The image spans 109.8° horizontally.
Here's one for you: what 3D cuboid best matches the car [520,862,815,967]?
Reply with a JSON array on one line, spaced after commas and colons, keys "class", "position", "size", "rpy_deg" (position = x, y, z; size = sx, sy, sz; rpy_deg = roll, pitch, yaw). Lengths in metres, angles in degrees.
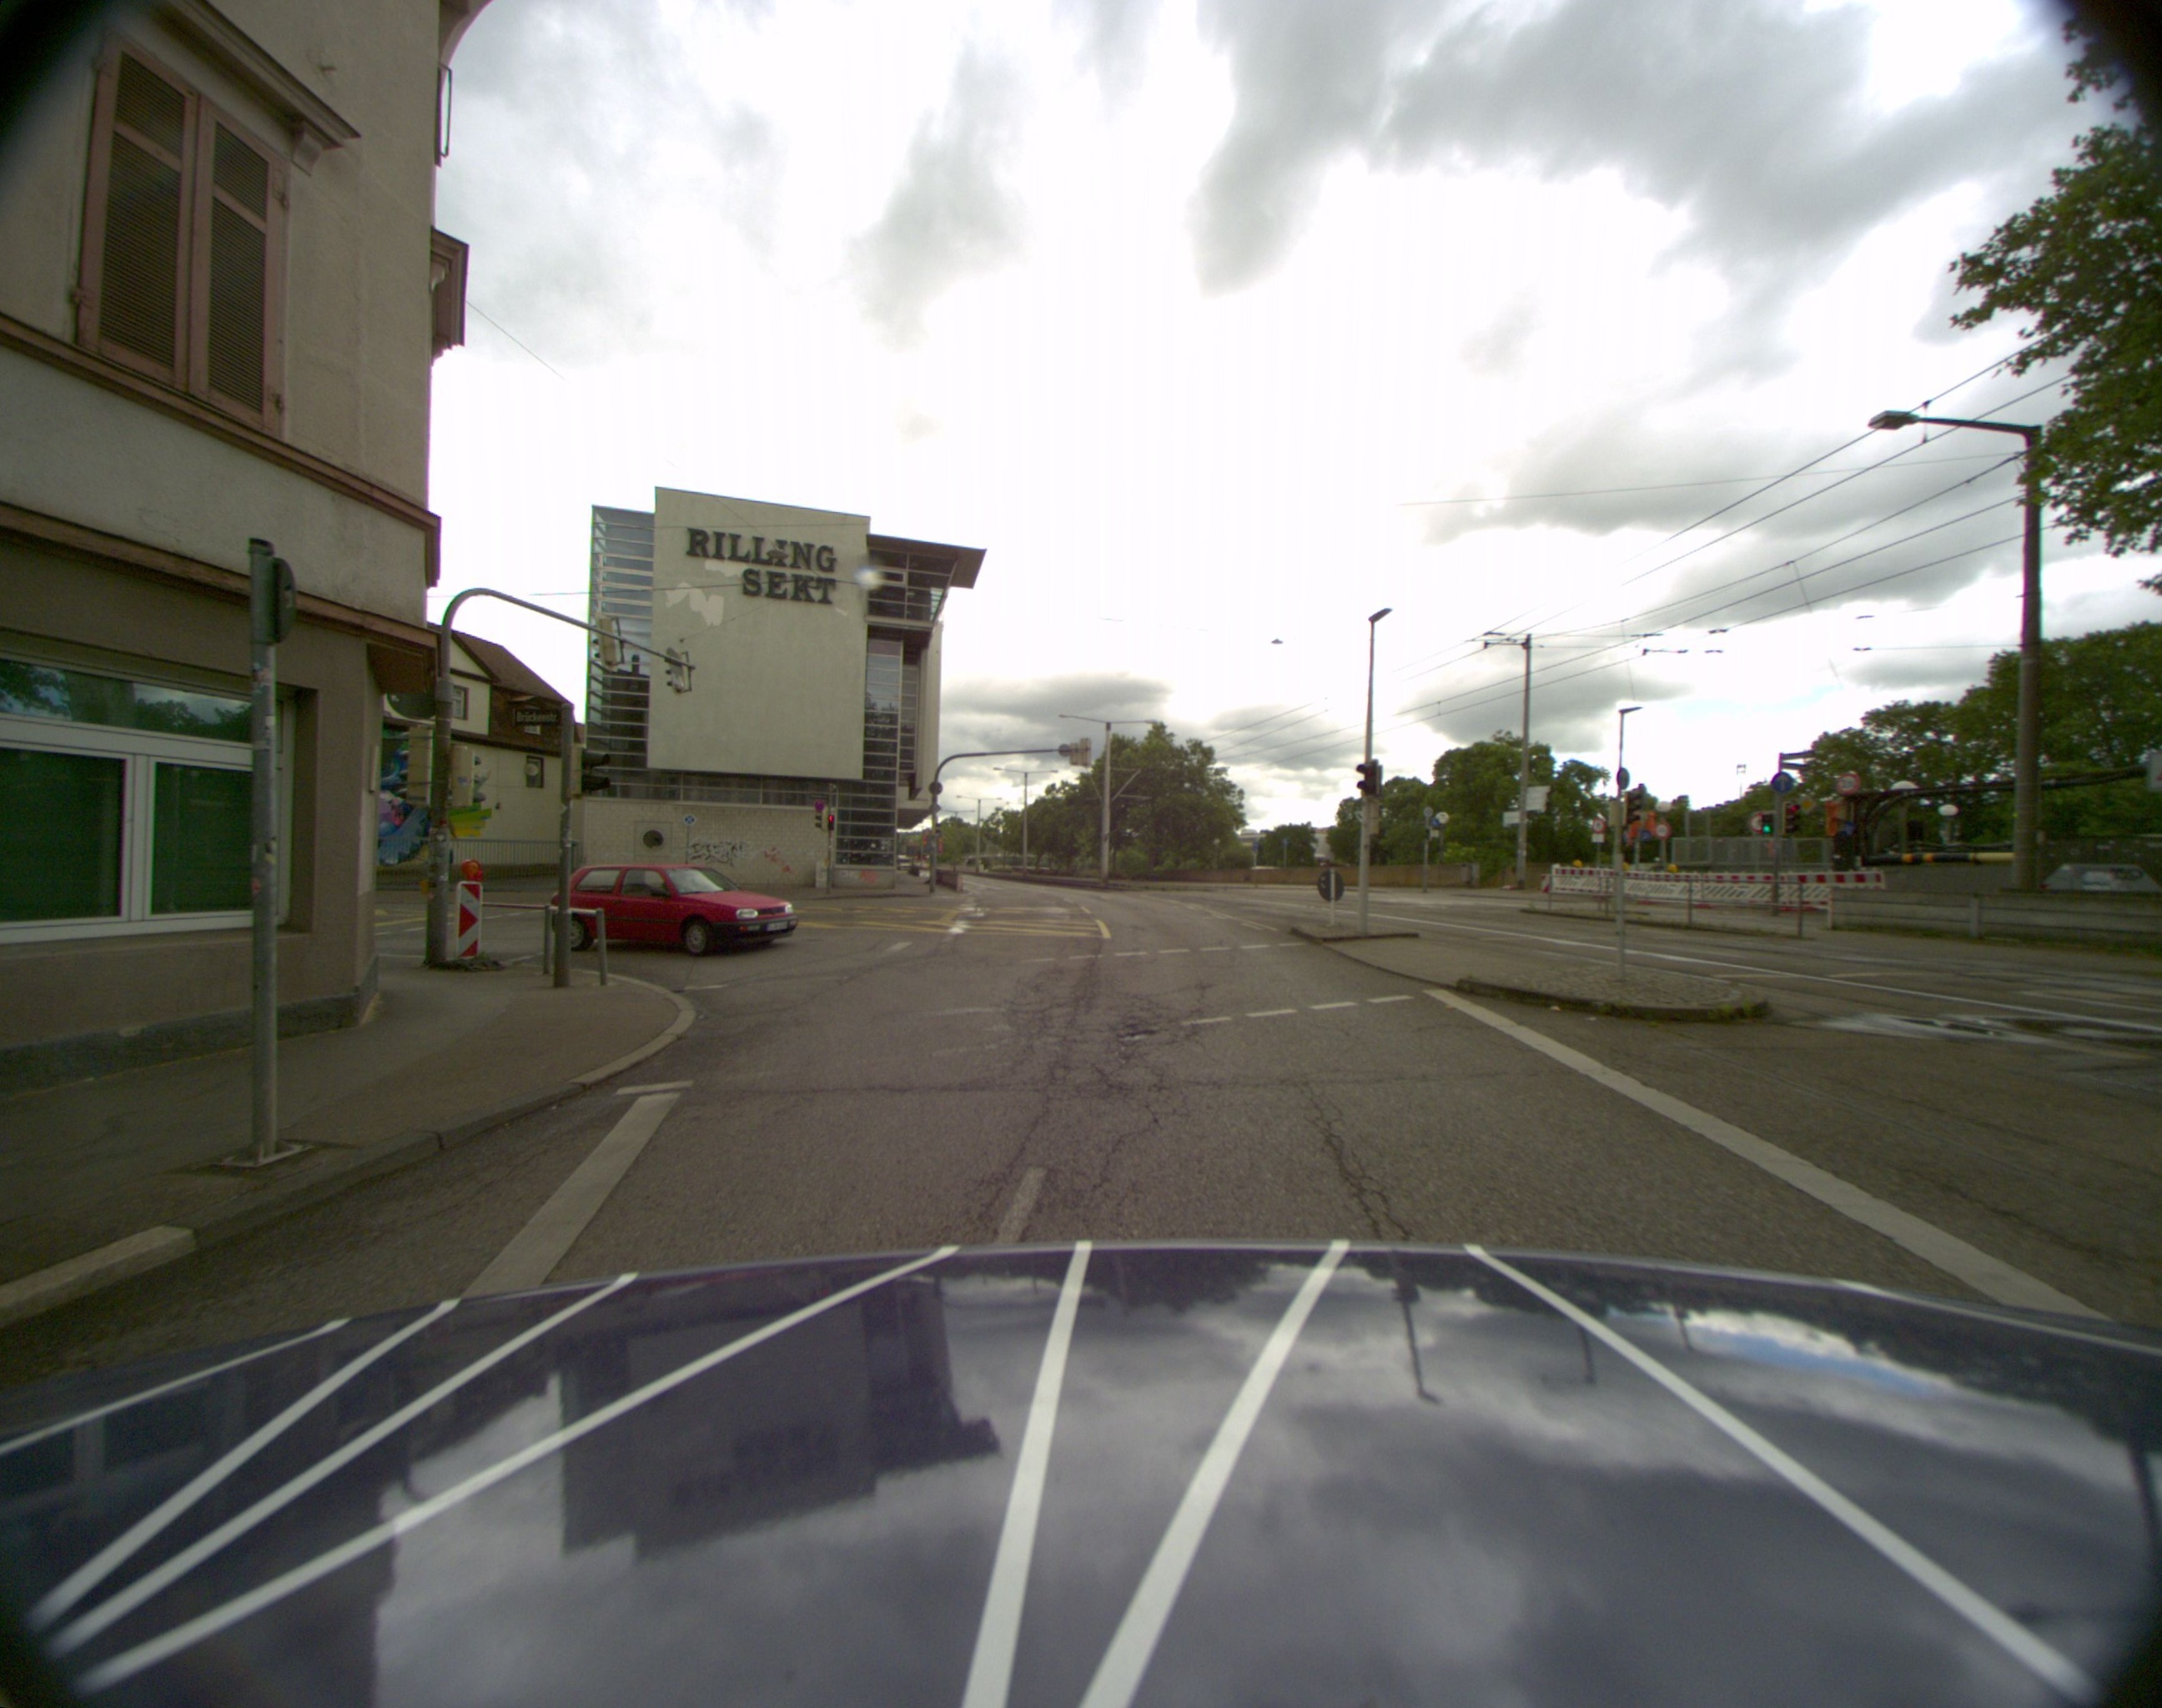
[{"class": "car", "position": [-6.818, 0.913, 12.664], "size": [4.165, 1.414, 1.853], "rpy_deg": [1, 2, 15]}]
